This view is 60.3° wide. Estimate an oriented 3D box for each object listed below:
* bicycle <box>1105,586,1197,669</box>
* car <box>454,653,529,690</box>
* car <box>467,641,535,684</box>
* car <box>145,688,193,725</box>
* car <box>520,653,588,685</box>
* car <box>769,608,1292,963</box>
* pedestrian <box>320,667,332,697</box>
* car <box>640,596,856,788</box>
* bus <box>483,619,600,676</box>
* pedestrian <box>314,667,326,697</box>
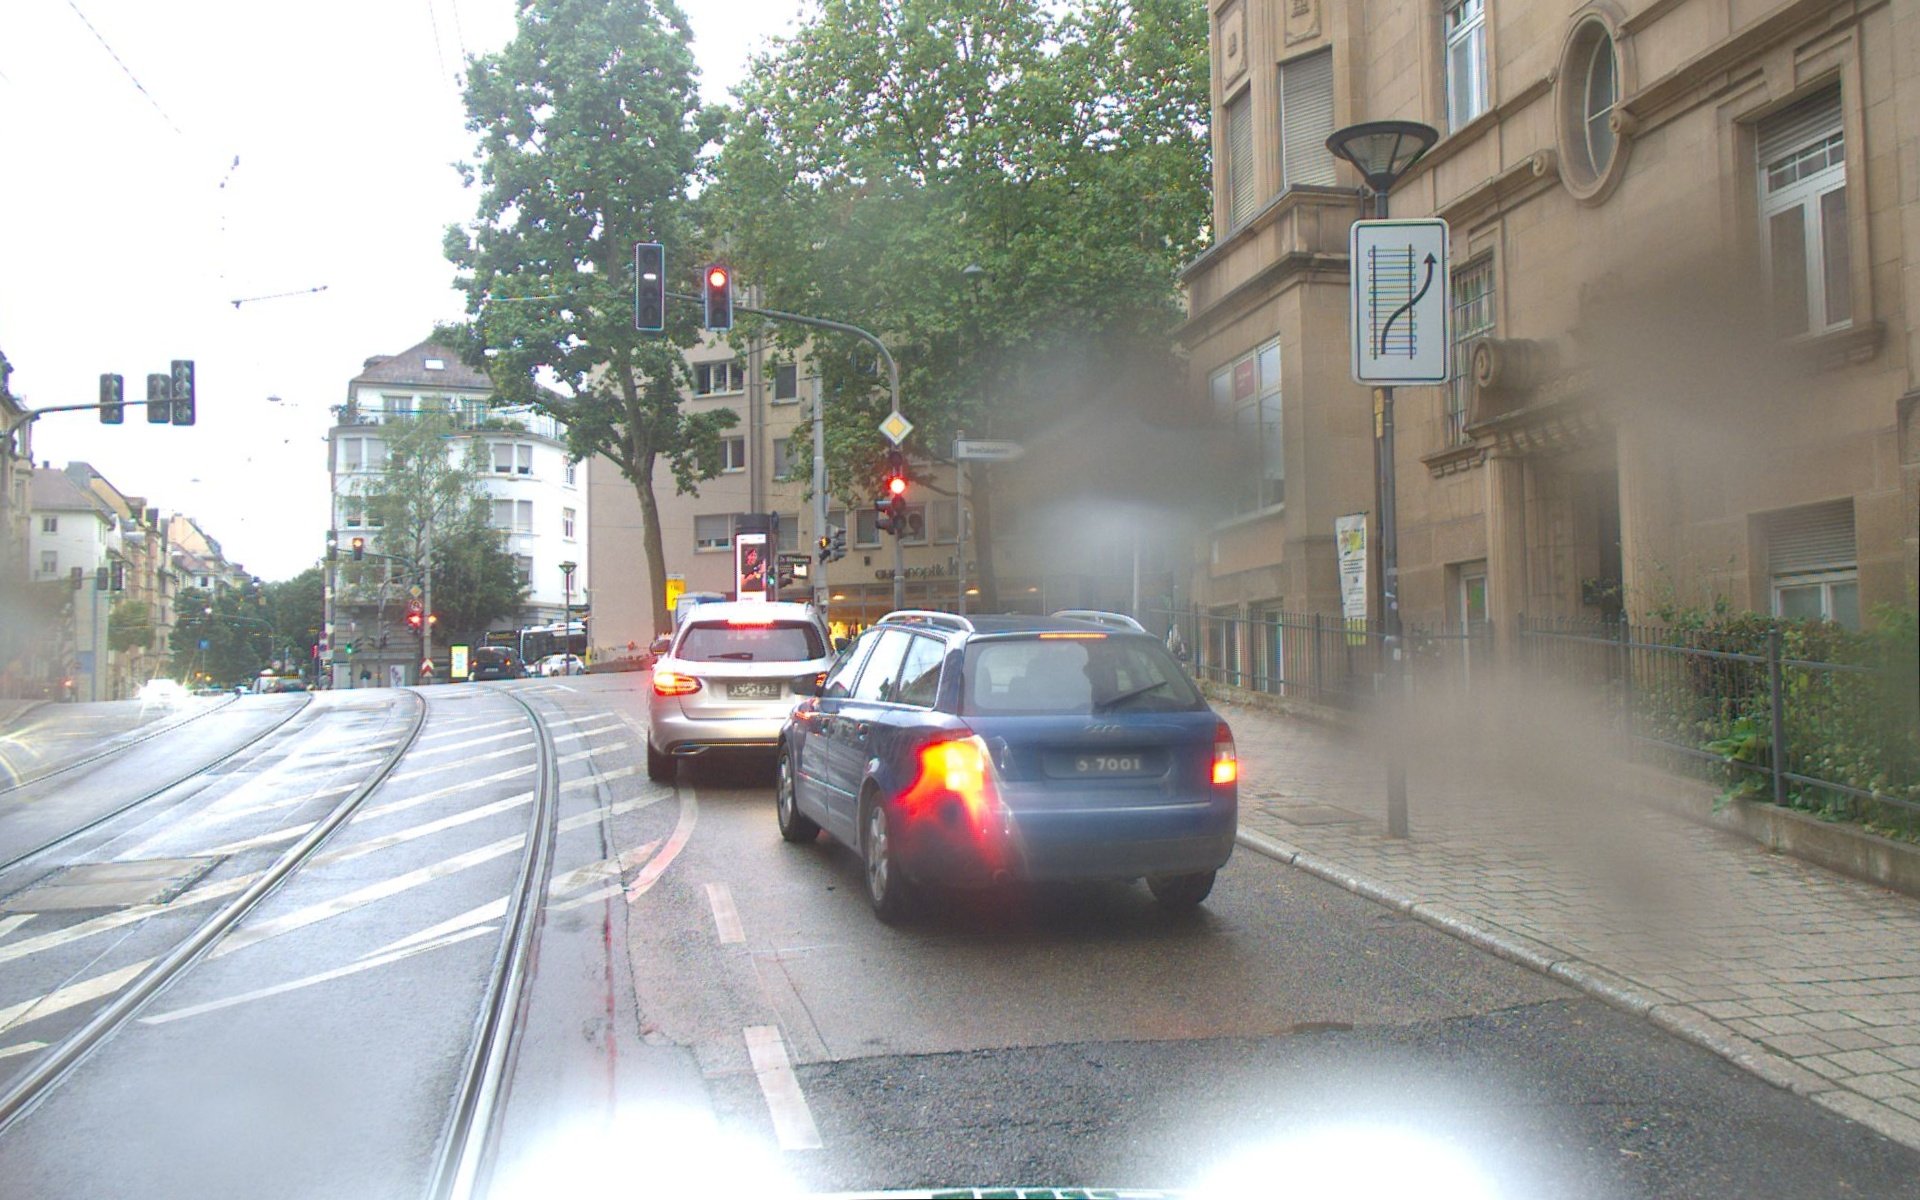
[{"bbox_3d":[2.953,0.418,25.613,1.278,1.194,0.524,-3,0,-13],"label":"bicycle"},{"bbox_3d":[-23.971,3.646,84.728,1.756,1.642,4.002,-1,0,17],"label":"car"},{"bbox_3d":[-19.183,2.603,69.281,1.758,1.536,3.999,-3,0,-2],"label":"car"},{"bbox_3d":[-39.624,5.287,82.790,1.776,1.536,4.618,-1,0,-30],"label":"car"},{"bbox_3d":[-22.031,3.737,89.965,1.756,1.536,4.002,-1,0,17],"label":"car"},{"bbox_3d":[0.123,0.787,9.110,1.683,1.440,4.018,0,0,-17],"label":"car"},{"bbox_3d":[-36.562,4.752,95.401,0.639,1.690,0.646,0,0,-21],"label":"pedestrian"},{"bbox_3d":[-1.893,0.716,14.763,1.678,1.481,3.547,0,0,-8],"label":"car"},{"bbox_3d":[-24.155,2.706,96.076,2.793,2.911,8.741,-1,0,14],"label":"bus"},{"bbox_3d":[-37.990,4.868,98.203,0.639,1.690,0.646,0,0,-21],"label":"pedestrian"}]
